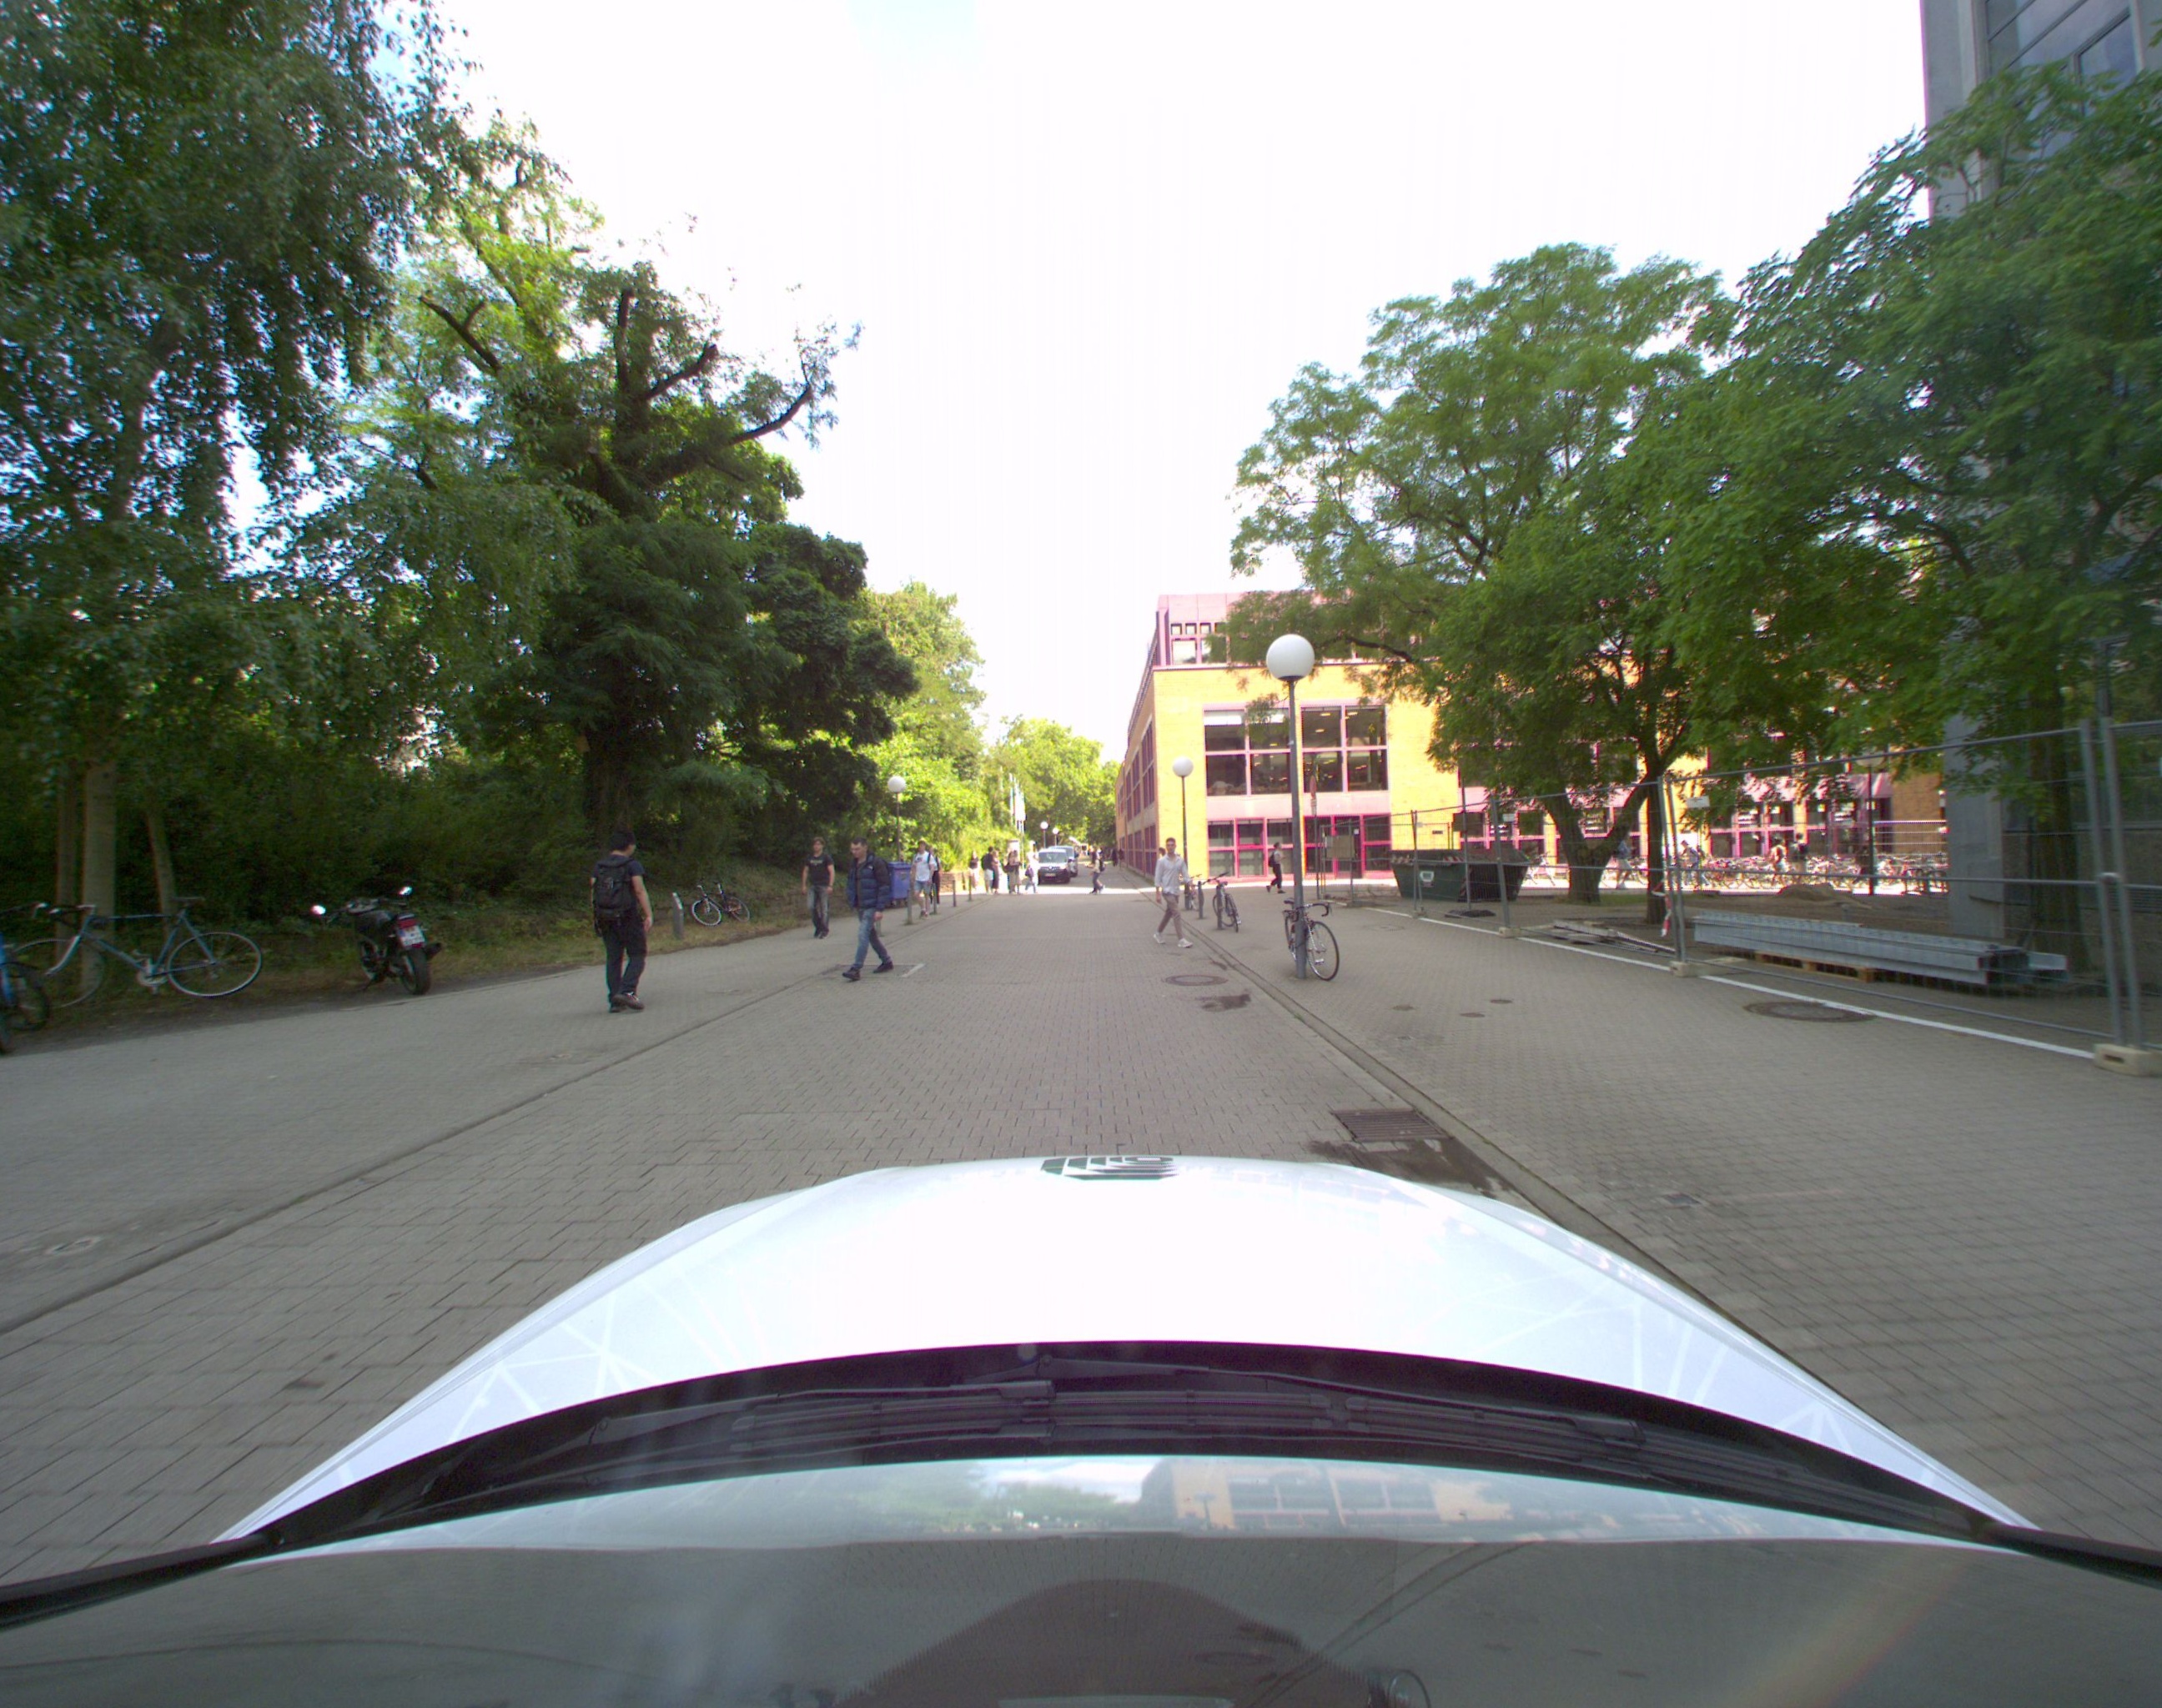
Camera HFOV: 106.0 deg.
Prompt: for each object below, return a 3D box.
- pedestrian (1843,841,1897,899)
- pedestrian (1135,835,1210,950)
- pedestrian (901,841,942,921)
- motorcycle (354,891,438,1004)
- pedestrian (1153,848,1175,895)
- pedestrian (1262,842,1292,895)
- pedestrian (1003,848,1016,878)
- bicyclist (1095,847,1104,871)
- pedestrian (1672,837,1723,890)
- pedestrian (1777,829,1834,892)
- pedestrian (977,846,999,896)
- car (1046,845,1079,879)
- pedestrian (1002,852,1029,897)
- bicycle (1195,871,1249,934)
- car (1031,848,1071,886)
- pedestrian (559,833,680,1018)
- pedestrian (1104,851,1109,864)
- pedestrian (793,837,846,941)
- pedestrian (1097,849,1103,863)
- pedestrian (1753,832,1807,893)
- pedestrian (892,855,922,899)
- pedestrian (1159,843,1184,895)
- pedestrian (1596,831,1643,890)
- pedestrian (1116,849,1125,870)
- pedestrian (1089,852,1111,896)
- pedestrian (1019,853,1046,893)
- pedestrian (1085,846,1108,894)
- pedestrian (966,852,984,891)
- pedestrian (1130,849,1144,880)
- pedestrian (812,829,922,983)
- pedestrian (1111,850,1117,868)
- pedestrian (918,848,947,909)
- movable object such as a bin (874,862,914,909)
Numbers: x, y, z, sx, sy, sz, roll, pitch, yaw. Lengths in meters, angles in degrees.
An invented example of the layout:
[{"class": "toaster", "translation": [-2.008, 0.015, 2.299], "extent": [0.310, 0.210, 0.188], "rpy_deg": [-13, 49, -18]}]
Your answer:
[{"class": "pedestrian", "translation": [24.080, 0.498, 24.863], "extent": [0.900, 1.728, 0.683], "rpy_deg": [-2, -3, -4]}, {"class": "pedestrian", "translation": [1.528, 0.609, 13.724], "extent": [0.787, 1.845, 1.109], "rpy_deg": [0, 0, -24]}, {"class": "pedestrian", "translation": [-3.857, 0.643, 19.801], "extent": [0.721, 1.881, 1.083], "rpy_deg": [-1, -1, 2]}, {"class": "motorcycle", "translation": [-7.642, 0.978, 9.056], "extent": [2.000, 1.047, 0.477], "rpy_deg": [0, 1, 43]}, {"class": "pedestrian", "translation": [3.034, 0.623, 29.600], "extent": [0.692, 1.672, 0.589], "rpy_deg": [-3, -1, 8]}, {"class": "pedestrian", "translation": [6.316, 0.468, 26.288], "extent": [0.847, 1.651, 0.589], "rpy_deg": [-1, -1, 8]}, {"class": "pedestrian", "translation": [-4.560, 0.580, 51.987], "extent": [0.680, 1.844, 0.783], "rpy_deg": [-1, -1, 1]}, {"class": "bicyclist", "translation": [1.304, 0.352, 57.528], "extent": [0.585, 1.716, 0.665], "rpy_deg": [-1, 0, -3]}, {"class": "pedestrian", "translation": [19.673, 0.318, 26.007], "extent": [1.039, 1.651, 0.705], "rpy_deg": [-1, -1, 8]}, {"class": "pedestrian", "translation": [20.597, 0.195, 23.160], "extent": [0.900, 1.728, 0.683], "rpy_deg": [-2, -3, -4]}, {"class": "pedestrian", "translation": [-3.495, 0.639, 30.661], "extent": [0.680, 1.844, 0.783], "rpy_deg": [-1, -1, 1]}, {"class": "car", "translation": [-1.114, 0.473, 52.240], "extent": [1.877, 1.974, 5.215], "rpy_deg": [-2, 0, 1]}, {"class": "pedestrian", "translation": [-2.476, 0.789, 30.945], "extent": [0.881, 1.672, 0.560], "rpy_deg": [-1, -1, 8]}, {"class": "bicycle", "translation": [2.653, 0.889, 15.505], "extent": [0.706, 1.093, 1.748], "rpy_deg": [-1, 0, 0]}, {"class": "car", "translation": [-1.502, 0.624, 41.983], "extent": [1.784, 1.761, 4.482], "rpy_deg": [-2, 0, 1]}, {"class": "pedestrian", "translation": [-4.543, 0.669, 8.081], "extent": [0.682, 1.724, 0.903], "rpy_deg": [-1, 0, -1]}, {"class": "pedestrian", "translation": [3.691, 0.492, 116.308], "extent": [0.651, 1.922, 0.818], "rpy_deg": [-3, -1, 2]}, {"class": "pedestrian", "translation": [-4.911, 0.634, 15.344], "extent": [0.681, 1.873, 1.119], "rpy_deg": [-1, -1, -4]}, {"class": "pedestrian", "translation": [2.440, 0.259, 105.509], "extent": [0.722, 1.672, 0.748], "rpy_deg": [-3, -1, 2]}, {"class": "pedestrian", "translation": [20.610, 0.257, 24.024], "extent": [0.900, 1.728, 0.683], "rpy_deg": [-2, -3, -4]}, {"class": "pedestrian", "translation": [-6.474, 0.869, 30.283], "extent": [0.908, 1.611, 0.573], "rpy_deg": [-1, -1, 17]}, {"class": "pedestrian", "translation": [3.210, 0.525, 28.834], "extent": [0.762, 1.794, 0.589], "rpy_deg": [-3, -1, 8]}, {"class": "pedestrian", "translation": [16.303, 0.209, 24.672], "extent": [0.900, 1.728, 0.683], "rpy_deg": [-2, -3, -4]}, {"class": "pedestrian", "translation": [3.120, 0.432, 64.685], "extent": [0.584, 1.672, 0.699], "rpy_deg": [-3, -1, 2]}, {"class": "pedestrian", "translation": [0.704, 0.748, 30.787], "extent": [0.778, 1.620, 0.684], "rpy_deg": [-1, -1, -2]}, {"class": "pedestrian", "translation": [-1.927, 0.747, 32.280], "extent": [0.881, 1.542, 0.744], "rpy_deg": [-2, -1, 8]}, {"class": "pedestrian", "translation": [0.605, 0.631, 31.651], "extent": [0.823, 1.844, 0.684], "rpy_deg": [-1, -1, -2]}, {"class": "pedestrian", "translation": [-4.469, 0.724, 34.315], "extent": [0.681, 1.620, 0.977], "rpy_deg": [-1, -1, -4]}, {"class": "pedestrian", "translation": [3.154, 0.581, 45.878], "extent": [0.680, 1.747, 0.783], "rpy_deg": [-1, -1, 1]}, {"class": "pedestrian", "translation": [-2.749, 0.632, 10.524], "extent": [0.877, 1.857, 1.039], "rpy_deg": [-1, 0, 34]}, {"class": "pedestrian", "translation": [3.187, 0.489, 78.577], "extent": [0.584, 1.672, 0.818], "rpy_deg": [-3, -1, 2]}, {"class": "pedestrian", "translation": [-4.349, 0.708, 23.882], "extent": [0.681, 1.728, 1.001], "rpy_deg": [-1, -1, -3]}, {"class": "movable object such as a bin", "translation": [-5.568, 0.909, 24.307], "extent": [0.705, 1.336, 1.243], "rpy_deg": [1, 0, 11]}]
